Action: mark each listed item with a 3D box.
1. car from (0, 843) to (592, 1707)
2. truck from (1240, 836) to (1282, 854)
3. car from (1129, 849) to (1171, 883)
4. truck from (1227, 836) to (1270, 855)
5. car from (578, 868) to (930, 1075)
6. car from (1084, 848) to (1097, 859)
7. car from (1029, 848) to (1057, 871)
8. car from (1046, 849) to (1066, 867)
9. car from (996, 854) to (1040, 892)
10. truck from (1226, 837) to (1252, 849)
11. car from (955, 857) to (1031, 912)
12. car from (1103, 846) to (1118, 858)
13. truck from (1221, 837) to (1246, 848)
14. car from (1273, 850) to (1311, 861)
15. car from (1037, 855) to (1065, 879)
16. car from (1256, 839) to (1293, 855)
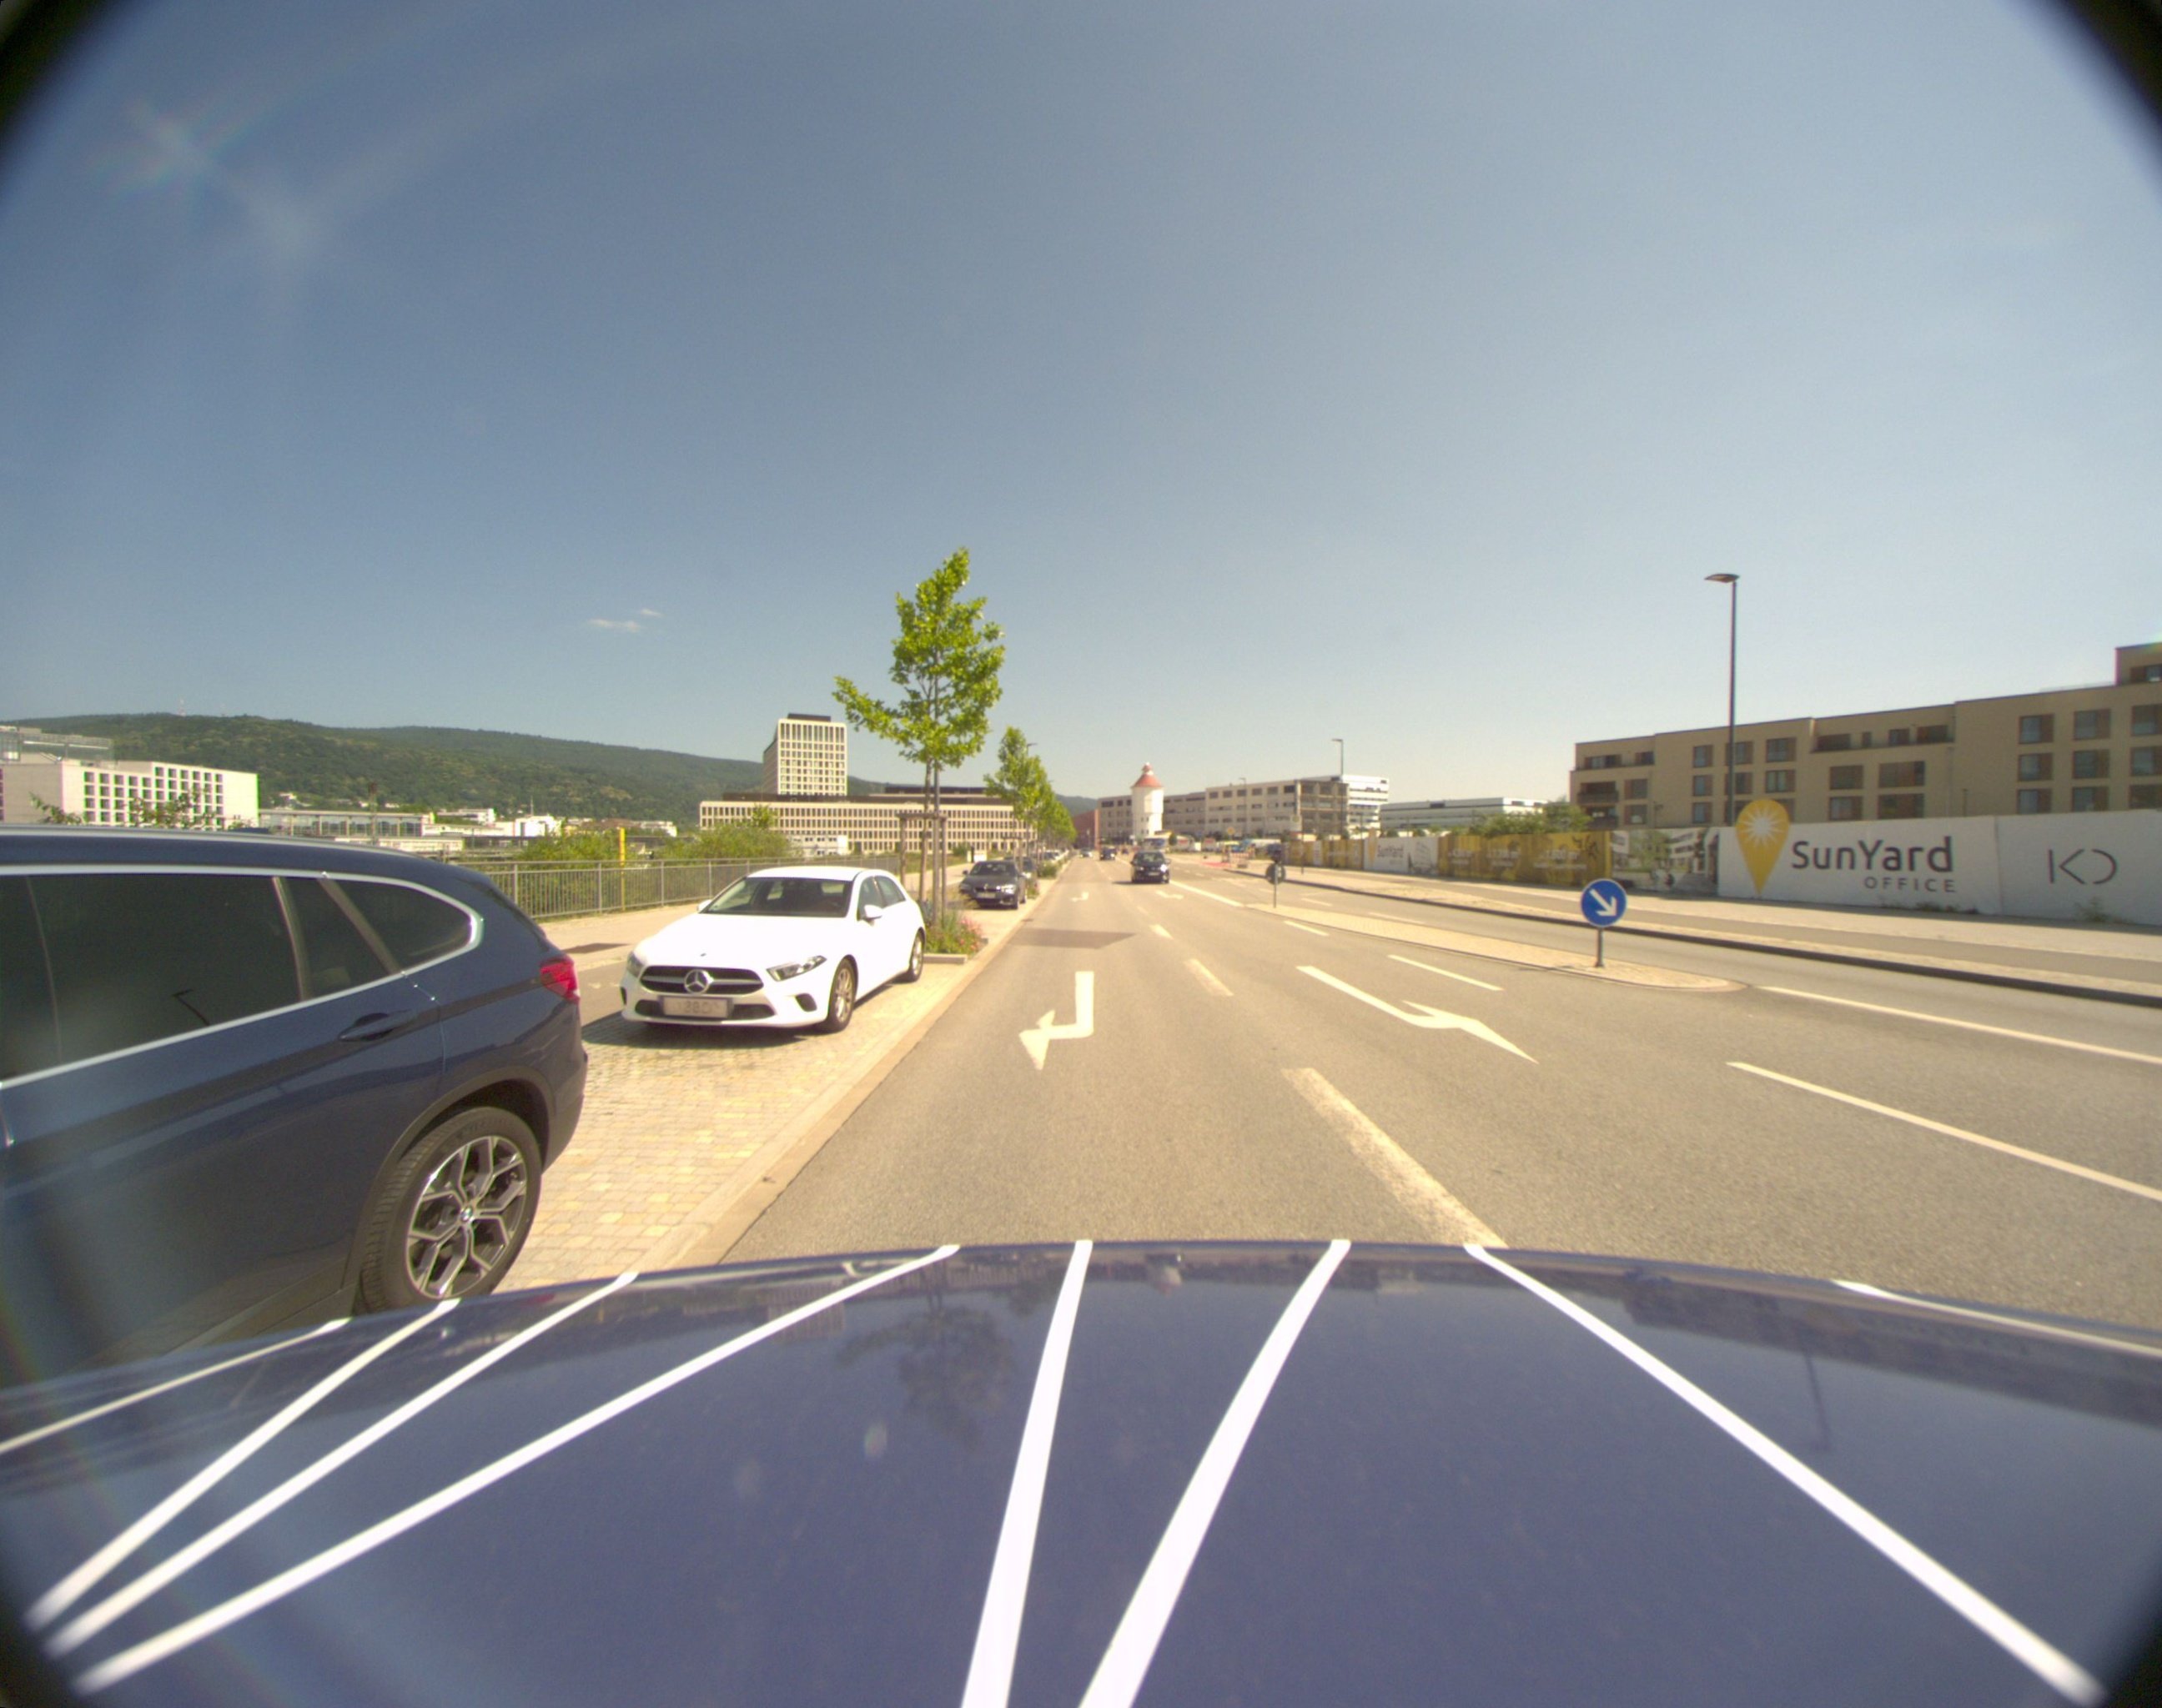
[{"bbox_3d":[-2.946,0.835,0.992,1.808,1.673,4.270,1,1,1],"label":"car"},{"bbox_3d":[23.987,-1.141,101.260,5.004,2.215,2.000,-2,1,-1],"label":"truck"},{"bbox_3d":[3.420,0.554,38.215,1.808,1.613,3.916,-1,1,1],"label":"car"},{"bbox_3d":[23.921,-1.259,108.573,5.633,2.461,1.999,-2,1,-3],"label":"truck"},{"bbox_3d":[-2.900,0.925,7.867,1.710,1.366,4.270,3,1,1],"label":"car"},{"bbox_3d":[1.352,-0.089,112.163,1.819,1.458,4.346,-1,0,1],"label":"car"},{"bbox_3d":[-2.777,0.370,56.579,1.768,1.609,3.374,-3,1,1],"label":"car"},{"bbox_3d":[-2.113,0.331,65.983,1.525,1.482,3.505,-2,1,1],"label":"car"},{"bbox_3d":[-2.691,0.787,32.911,1.569,1.465,3.007,2,1,1],"label":"car"},{"bbox_3d":[35.889,-2.421,172.664,5.332,2.461,1.999,-2,1,-3],"label":"truck"},{"bbox_3d":[-2.621,0.881,23.424,1.808,1.424,3.916,2,1,1],"label":"car"},{"bbox_3d":[3.494,-0.290,90.646,1.709,1.404,4.000,-1,1,1],"label":"car"},{"bbox_3d":[36.223,-2.719,180.544,5.412,2.461,1.999,-2,1,-1],"label":"truck"},{"bbox_3d":[20.290,0.165,73.115,3.359,0.947,1.293,-2,1,3],"label":"car"},{"bbox_3d":[-1.772,0.754,46.080,1.490,1.302,3.155,-2,1,1],"label":"car"},{"bbox_3d":[23.396,-0.837,91.850,3.930,1.708,1.891,-2,1,-4],"label":"car"}]
